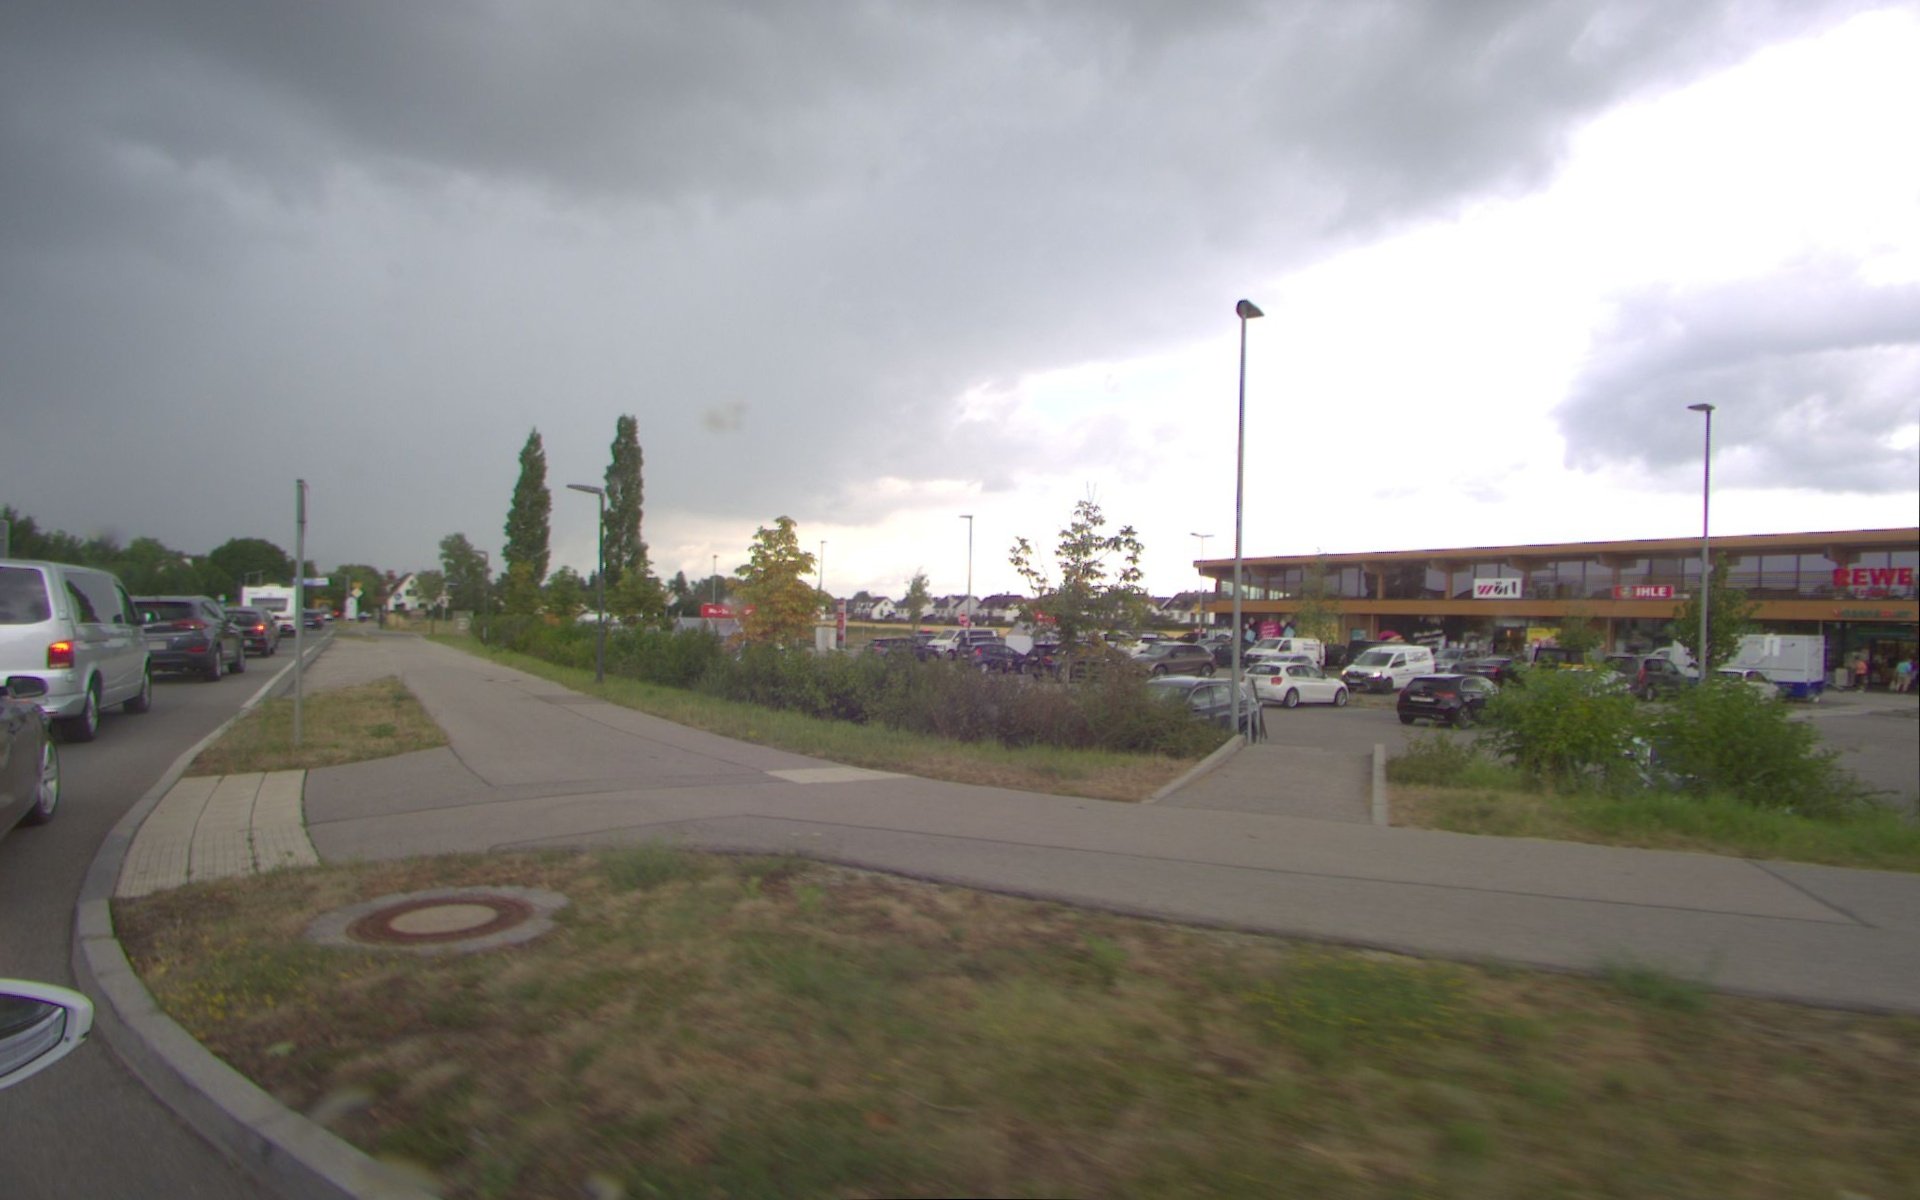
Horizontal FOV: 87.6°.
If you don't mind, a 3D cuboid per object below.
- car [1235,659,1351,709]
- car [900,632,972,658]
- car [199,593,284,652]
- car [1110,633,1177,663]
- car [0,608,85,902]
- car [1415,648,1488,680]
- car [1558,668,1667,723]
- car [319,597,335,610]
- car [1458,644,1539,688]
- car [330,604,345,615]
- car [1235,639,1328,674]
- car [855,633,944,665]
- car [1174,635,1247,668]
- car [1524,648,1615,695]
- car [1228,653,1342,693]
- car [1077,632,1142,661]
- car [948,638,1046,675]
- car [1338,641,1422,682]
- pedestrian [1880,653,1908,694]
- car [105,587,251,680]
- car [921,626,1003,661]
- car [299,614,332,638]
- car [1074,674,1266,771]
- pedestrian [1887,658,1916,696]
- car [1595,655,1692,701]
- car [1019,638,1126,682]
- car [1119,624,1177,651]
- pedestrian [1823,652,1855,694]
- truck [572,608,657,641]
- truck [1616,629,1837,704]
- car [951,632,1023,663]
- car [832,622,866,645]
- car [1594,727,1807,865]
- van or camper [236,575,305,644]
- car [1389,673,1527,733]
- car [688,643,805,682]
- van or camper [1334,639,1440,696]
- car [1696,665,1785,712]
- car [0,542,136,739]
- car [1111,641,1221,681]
[{"bbox_3d":[11.036,2.752,33.105,3.949,1.504,1.671,3,-2,-36],"label":"car"},{"bbox_3d":[-1.545,2.861,63.823,4.266,1.598,1.758,2,-1,-30],"label":"car"},{"bbox_3d":[-21.383,0.677,29.940,1.758,1.639,3.977,1,-1,-31],"label":"car"},{"bbox_3d":[12.007,3.125,65.528,3.941,1.861,1.991,2,-1,-28],"label":"car"},{"bbox_3d":[-5.824,0.740,4.999,1.767,1.410,4.104,1,-1,-35],"label":"car"},{"bbox_3d":[26.248,3.421,53.427,4.174,1.633,1.755,3,-2,-35],"label":"car"},{"bbox_3d":[20.956,3.009,32.114,3.953,1.573,1.718,2,-1,-37],"label":"car"},{"bbox_3d":[-113.126,0.656,178.958,1.970,2.240,3.982,2,-1,-27],"label":"car"},{"bbox_3d":[24.669,3.004,45.860,3.952,1.878,1.759,2,-1,-36],"label":"car"},{"bbox_3d":[-86.233,1.333,138.710,1.596,1.427,3.596,2,-2,-31],"label":"car"},{"bbox_3d":[17.732,3.118,55.110,5.232,1.854,1.989,3,-2,-32],"label":"car"},{"bbox_3d":[-3.316,2.717,55.394,4.510,1.686,1.988,2,-1,-32],"label":"car"},{"bbox_3d":[15.130,3.109,60.520,3.941,1.861,1.991,2,-1,-28],"label":"car"},{"bbox_3d":[26.425,3.081,43.381,3.947,1.878,1.762,3,-2,-32],"label":"car"},{"bbox_3d":[13.508,3.018,41.525,4.725,1.503,1.893,2,-1,-32],"label":"car"},{"bbox_3d":[10.162,3.121,67.869,3.942,1.861,1.991,2,-1,-29],"label":"car"},{"bbox_3d":[1.812,2.719,48.297,4.358,1.686,1.988,2,-1,-32],"label":"car"},{"bbox_3d":[21.356,3.129,50.877,3.948,1.860,1.988,5,-3,-32],"label":"car"},{"bbox_3d":[47.909,3.773,51.353,0.796,2.040,0.925,2,0,-38],"label":"pedestrian"},{"bbox_3d":[-15.429,0.655,19.958,1.758,1.638,3.978,3,-2,-31],"label":"car"},{"bbox_3d":[0.154,2.664,61.859,5.073,2.040,1.981,2,0,-42],"label":"car"},{"bbox_3d":[-50.564,2.041,78.578,1.602,1.817,3.964,2,-2,-41],"label":"car"},{"bbox_3d":[4.313,2.386,20.314,3.958,1.628,1.775,2,-2,-41],"label":"car"},{"bbox_3d":[43.461,3.542,46.236,0.738,1.679,0.802,1,0,28],"label":"pedestrian"},{"bbox_3d":[27.415,3.110,40.138,4.067,1.746,1.841,3,-3,-33],"label":"car"},{"bbox_3d":[4.863,2.579,43.013,4.406,1.727,1.793,3,-2,-32],"label":"car"},{"bbox_3d":[13.961,2.788,74.390,3.941,1.864,1.866,2,-1,-28],"label":"car"},{"bbox_3d":[41.546,3.440,47.348,0.783,1.922,0.923,4,-2,-32],"label":"pedestrian"},{"bbox_3d":[-21.943,1.563,63.686,4.754,1.896,1.986,3,-2,-36],"label":"truck"},{"bbox_3d":[33.547,2.816,44.113,2.941,2.843,7.205,2,-1,-36],"label":"truck"},{"bbox_3d":[1.581,2.791,58.785,3.947,1.727,1.706,3,-2,-32],"label":"car"},{"bbox_3d":[-10.334,3.061,92.953,1.969,2.039,3.985,2,-1,-25],"label":"car"},{"bbox_3d":[10.772,2.765,14.849,1.553,1.390,3.726,1,-2,21],"label":"car"},{"bbox_3d":[-36.513,0.565,53.187,2.598,3.365,6.783,2,-2,-32],"label":"van or camper"},{"bbox_3d":[13.838,2.800,27.777,3.952,1.416,1.823,2,-1,-37],"label":"car"},{"bbox_3d":[-8.656,2.505,40.663,4.189,1.458,1.989,2,-1,-32],"label":"car"},{"bbox_3d":[17.394,2.705,40.701,4.747,2.125,1.753,2,-1,-36],"label":"van or camper"},{"bbox_3d":[29.505,3.302,37.818,3.953,1.550,1.718,2,-1,-37],"label":"car"},{"bbox_3d":[-10.863,0.408,11.444,1.850,1.959,3.973,2,-1,-35],"label":"car"},{"bbox_3d":[9.493,2.791,46.052,4.923,1.686,1.988,2,-1,-32],"label":"car"}]
